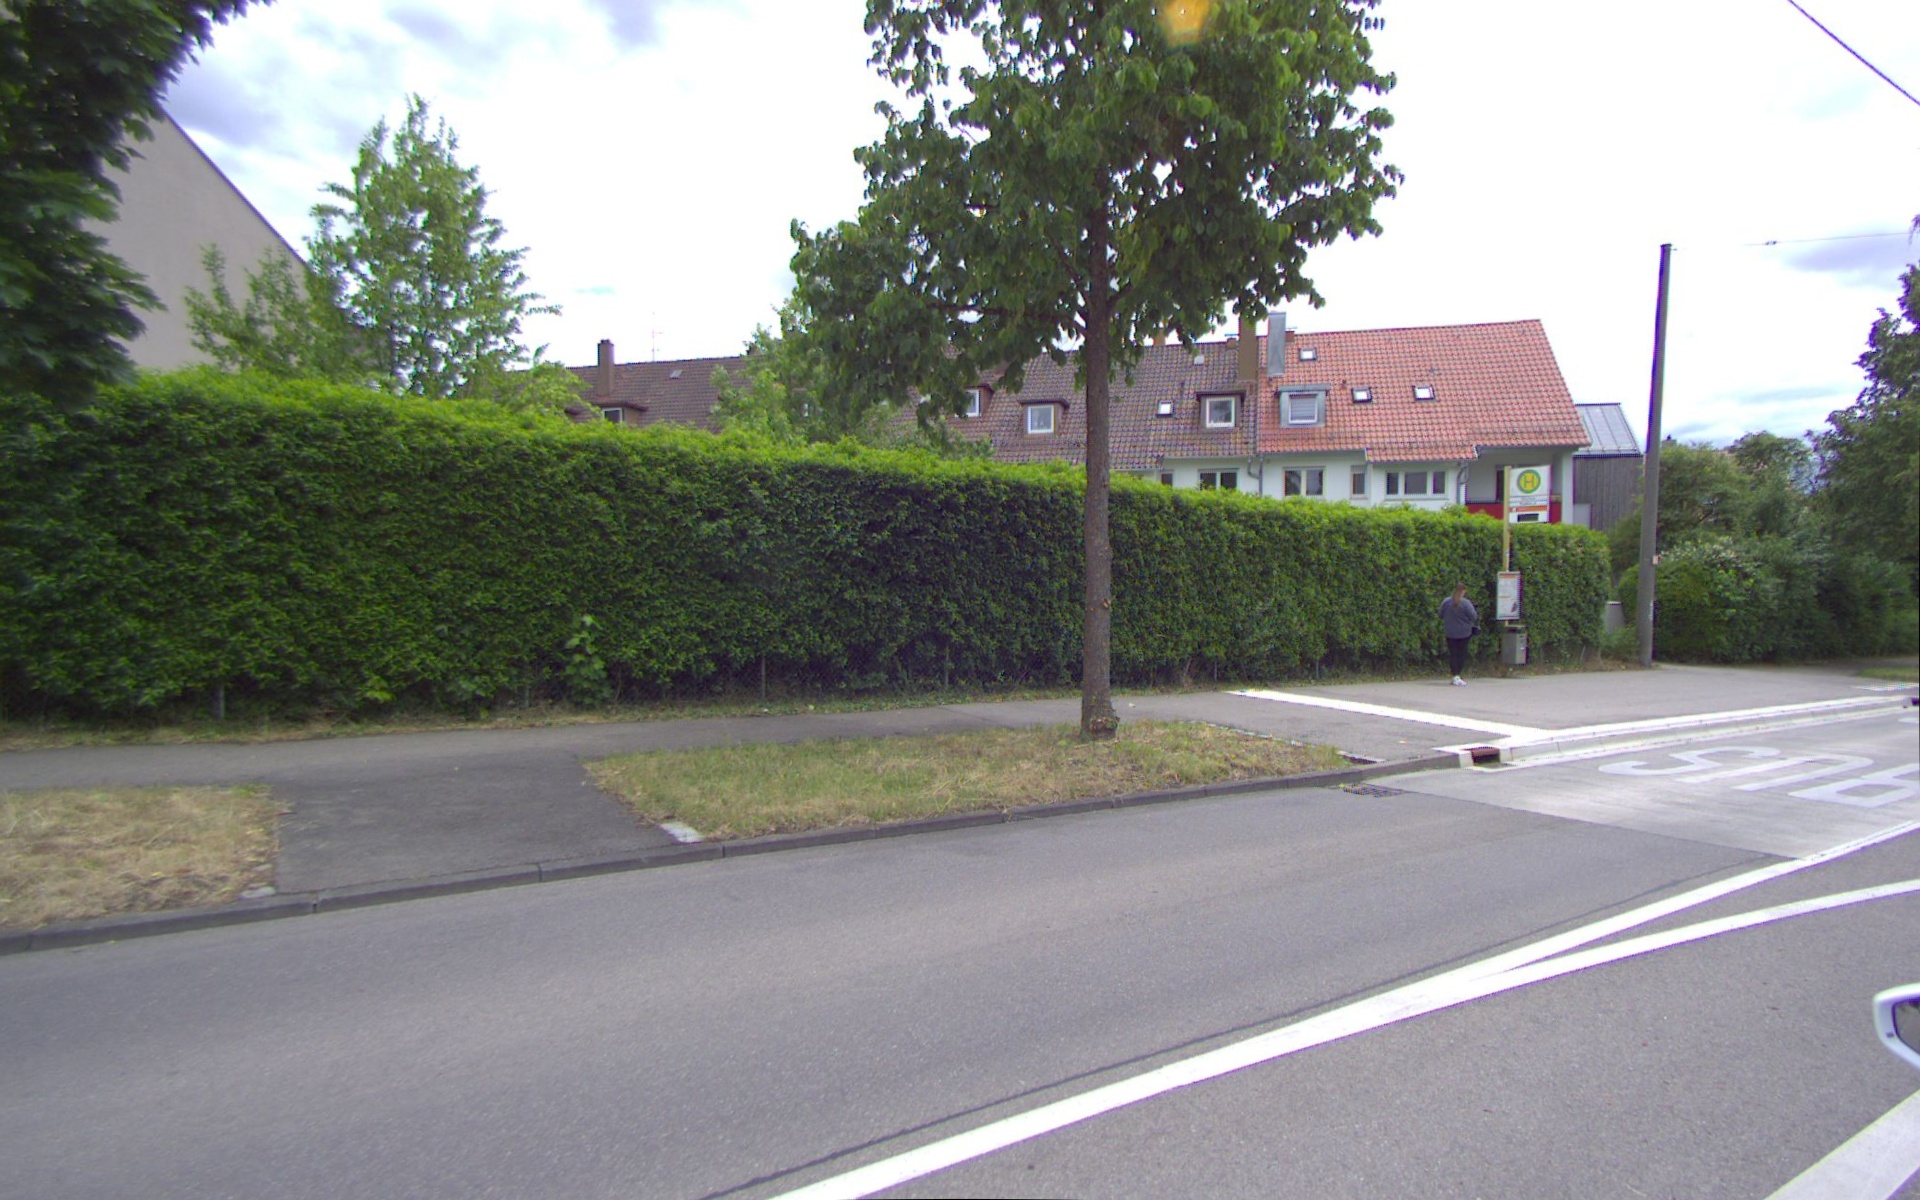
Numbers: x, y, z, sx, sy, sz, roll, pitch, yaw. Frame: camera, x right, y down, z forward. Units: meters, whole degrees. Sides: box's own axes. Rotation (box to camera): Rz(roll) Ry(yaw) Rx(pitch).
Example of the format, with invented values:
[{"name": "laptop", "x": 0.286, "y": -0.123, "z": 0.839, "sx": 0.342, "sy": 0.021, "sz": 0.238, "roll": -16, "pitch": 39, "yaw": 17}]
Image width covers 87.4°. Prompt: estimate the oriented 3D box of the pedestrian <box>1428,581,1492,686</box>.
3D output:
[{"name": "pedestrian", "x": 8.563, "y": 0.560, "z": 17.212, "sx": 0.772, "sy": 1.733, "sz": 0.686, "roll": 1, "pitch": 1, "yaw": -39}]
